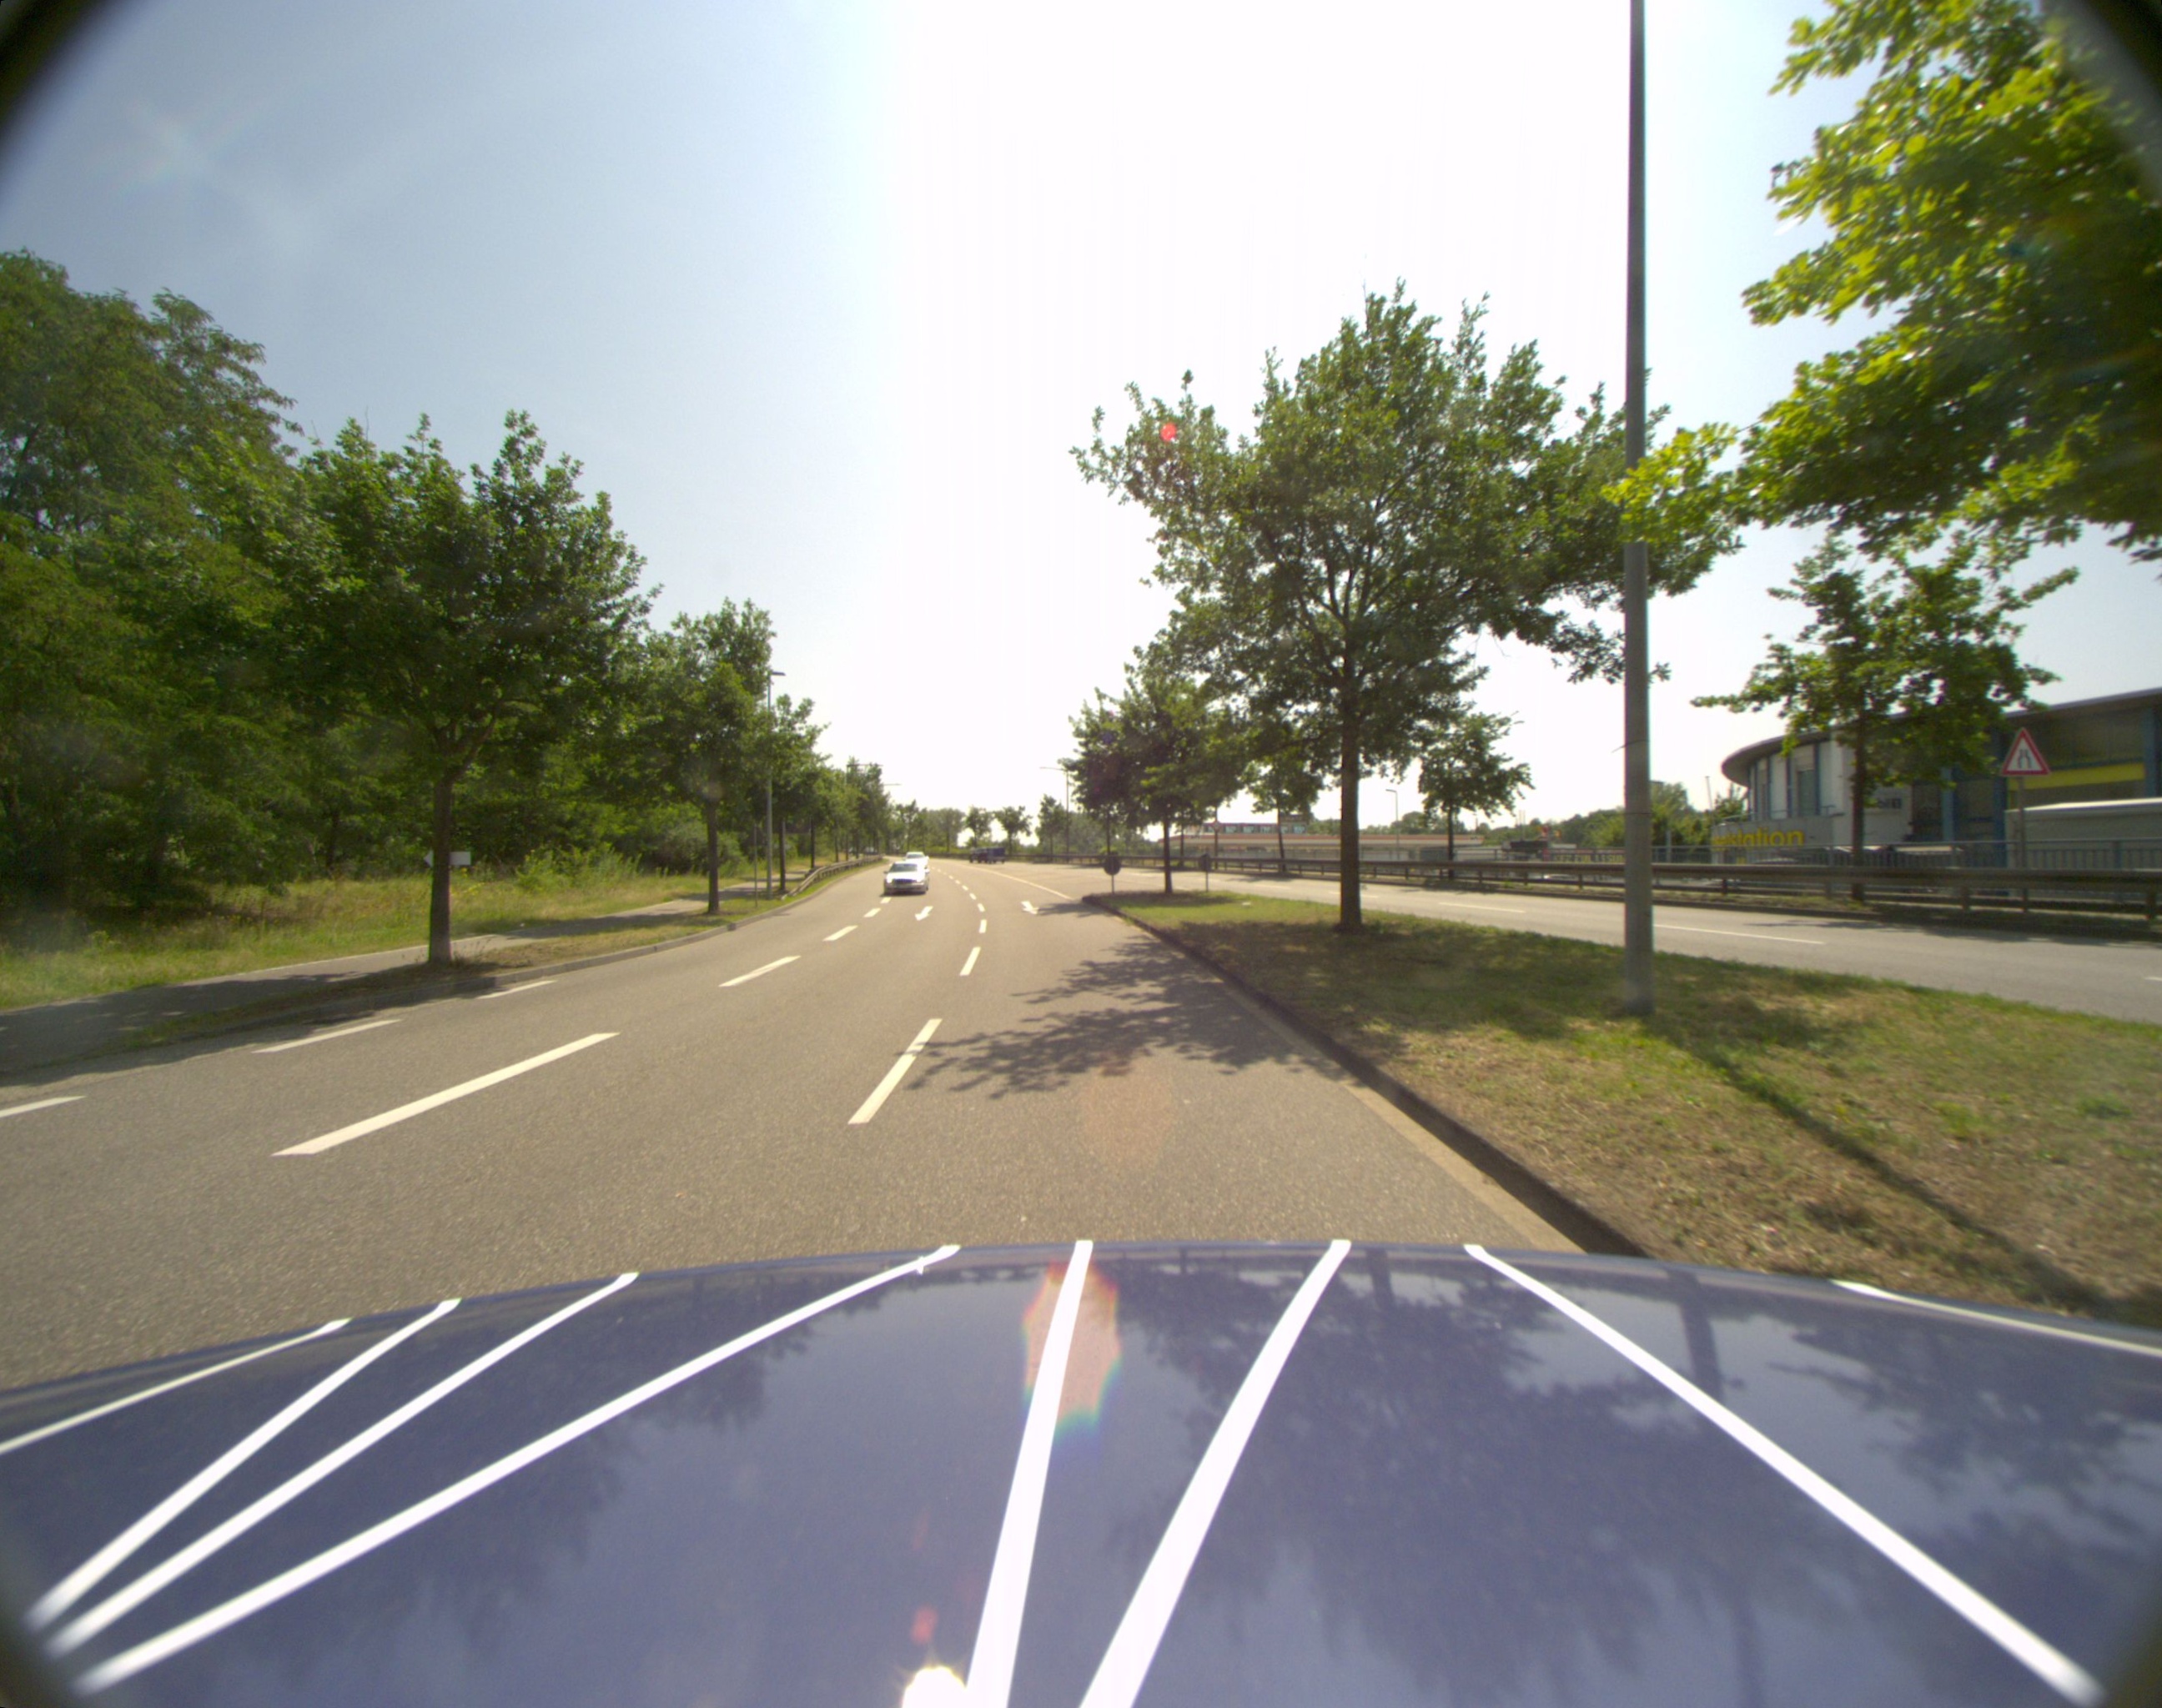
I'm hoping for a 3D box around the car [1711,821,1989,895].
[{"bbox_3d":[18.458,0.067,18.648,1.903,1.560,4.637,1,1,-4],"label":"car"}]

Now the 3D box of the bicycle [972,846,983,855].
[{"bbox_3d":[-13.946,-0.421,102.255,0.738,1.110,2.041,3,0,-28],"label":"bicycle"}]

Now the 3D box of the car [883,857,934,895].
[{"bbox_3d":[-7.522,0.933,33.456,1.764,1.490,4.230,-1,0,-8],"label":"car"}]

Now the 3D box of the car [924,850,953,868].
[{"bbox_3d":[-11.077,0.386,58.817,2.001,1.361,4.228,-1,0,-13],"label":"car"}]

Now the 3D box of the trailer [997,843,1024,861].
[{"bbox_3d":[-6.774,-0.201,72.700,1.512,1.606,3.301,-2,0,-26],"label":"trailer"}]

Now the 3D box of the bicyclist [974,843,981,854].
[{"bbox_3d":[-13.933,-0.731,102.252,0.733,1.457,0.822,3,0,-27],"label":"bicyclist"}]

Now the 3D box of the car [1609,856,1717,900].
[{"bbox_3d":[28.731,1.158,37.575,4.000,2.002,1.998,-1,1,-8],"label":"car"}]

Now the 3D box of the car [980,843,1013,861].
[{"bbox_3d":[-8.507,-0.192,76.149,1.923,1.642,4.398,-1,0,-26],"label":"car"}]
